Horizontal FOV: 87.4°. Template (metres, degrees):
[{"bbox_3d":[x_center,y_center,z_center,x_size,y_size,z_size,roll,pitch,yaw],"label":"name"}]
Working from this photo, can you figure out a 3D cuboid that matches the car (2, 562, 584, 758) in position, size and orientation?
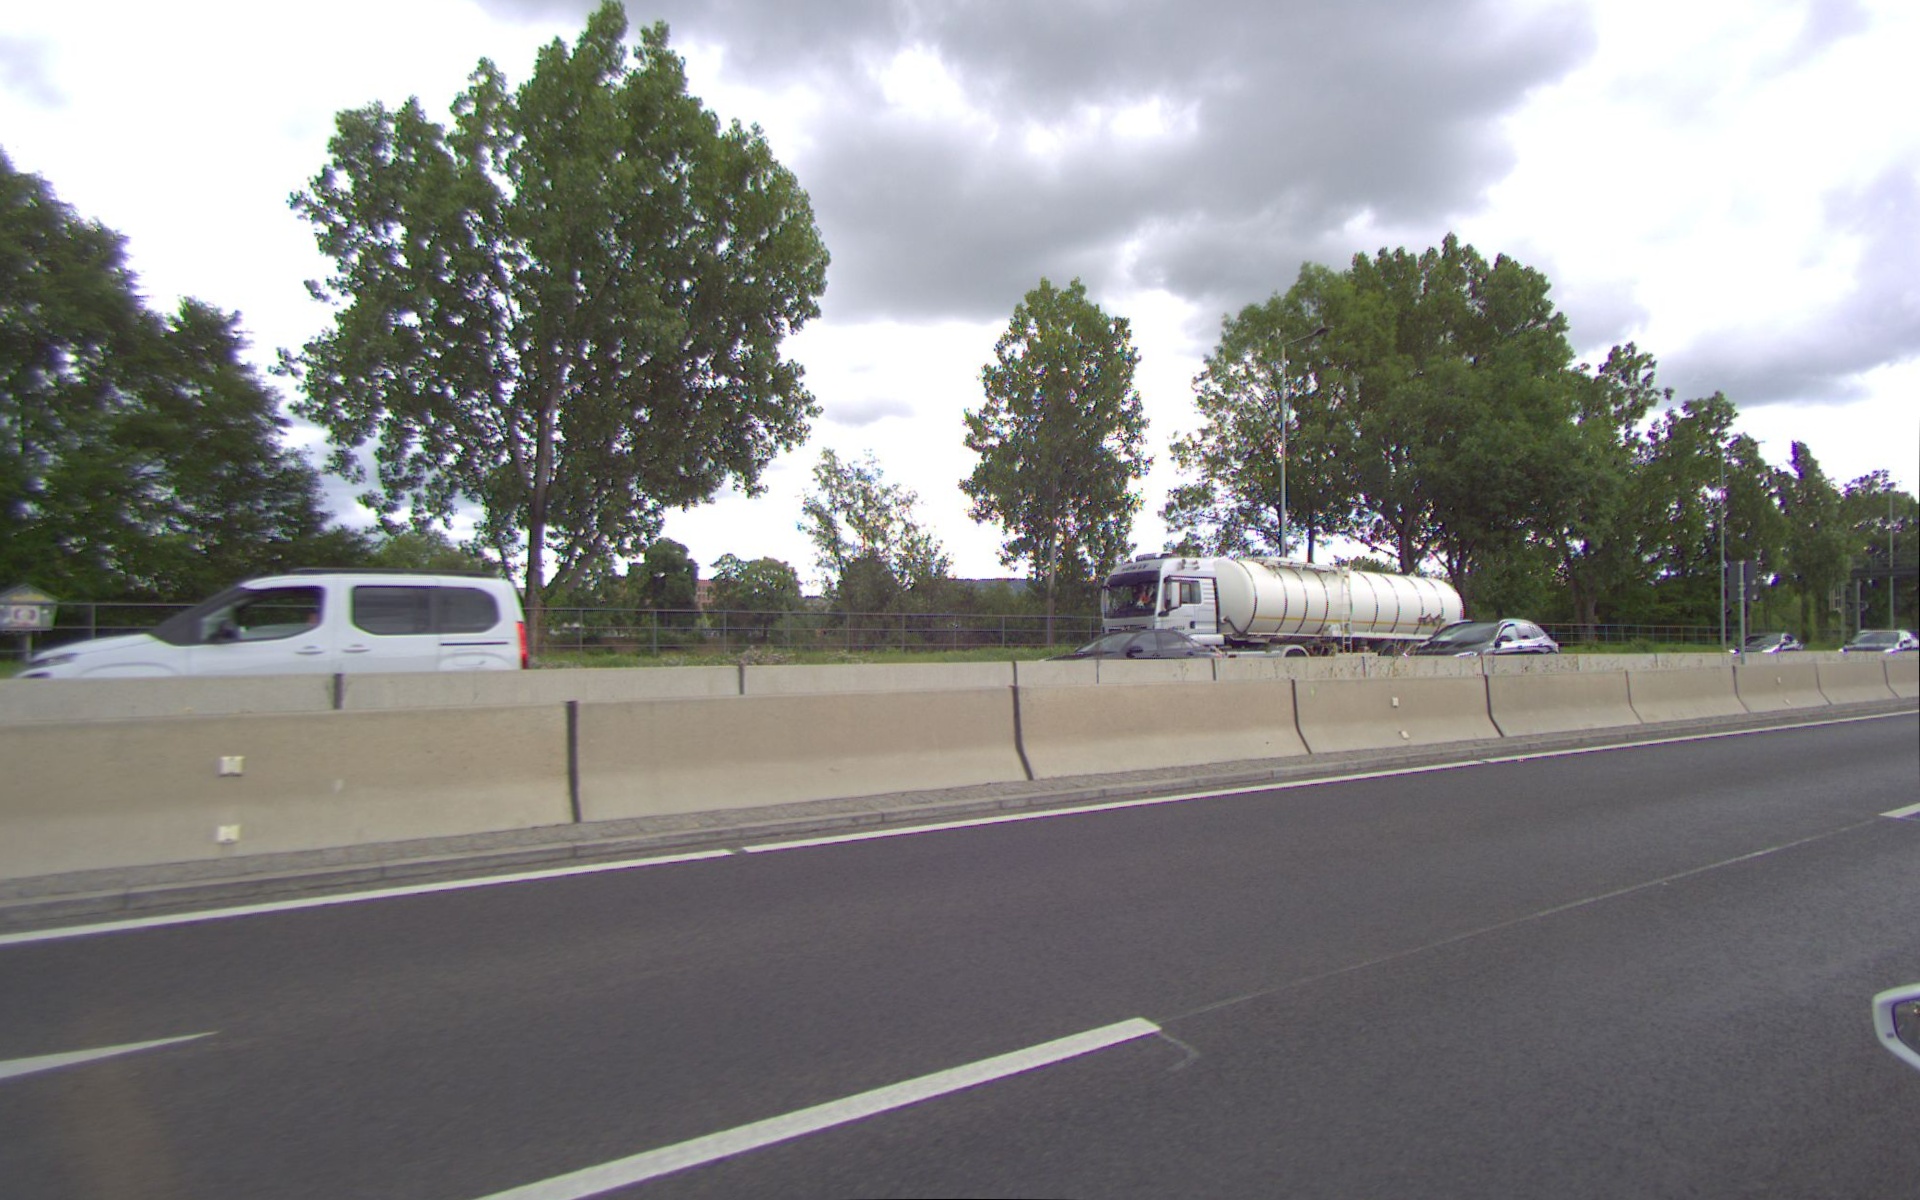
[{"bbox_3d":[-6.560,0.519,10.499,4.644,1.639,1.983,1,1,-32],"label":"car"}]

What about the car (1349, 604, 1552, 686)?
[{"bbox_3d":[11.173,0.971,22.791,4.644,1.639,1.983,1,1,-32],"label":"car"}]

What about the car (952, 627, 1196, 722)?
[{"bbox_3d":[2.328,1.395,20.161,4.644,1.639,1.983,1,1,-32],"label":"car"}]

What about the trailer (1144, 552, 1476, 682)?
[{"bbox_3d":[10.704,0.475,29.796,11.550,3.263,3.080,1,1,-35],"label":"trailer"}]

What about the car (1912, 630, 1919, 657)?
[{"bbox_3d":[63.380,2.839,64.829,4.077,1.705,1.867,1,1,-33],"label":"car"}]

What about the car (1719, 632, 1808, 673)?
[{"bbox_3d":[38.165,2.465,47.667,4.255,1.762,1.983,1,1,-32],"label":"car"}]

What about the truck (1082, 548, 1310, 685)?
[{"bbox_3d":[6.301,0.401,26.710,5.336,3.262,3.078,1,1,-35],"label":"truck"}]

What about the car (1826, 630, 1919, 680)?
[{"bbox_3d":[35.624,2.089,38.979,3.955,1.762,1.983,1,1,-32],"label":"car"}]
